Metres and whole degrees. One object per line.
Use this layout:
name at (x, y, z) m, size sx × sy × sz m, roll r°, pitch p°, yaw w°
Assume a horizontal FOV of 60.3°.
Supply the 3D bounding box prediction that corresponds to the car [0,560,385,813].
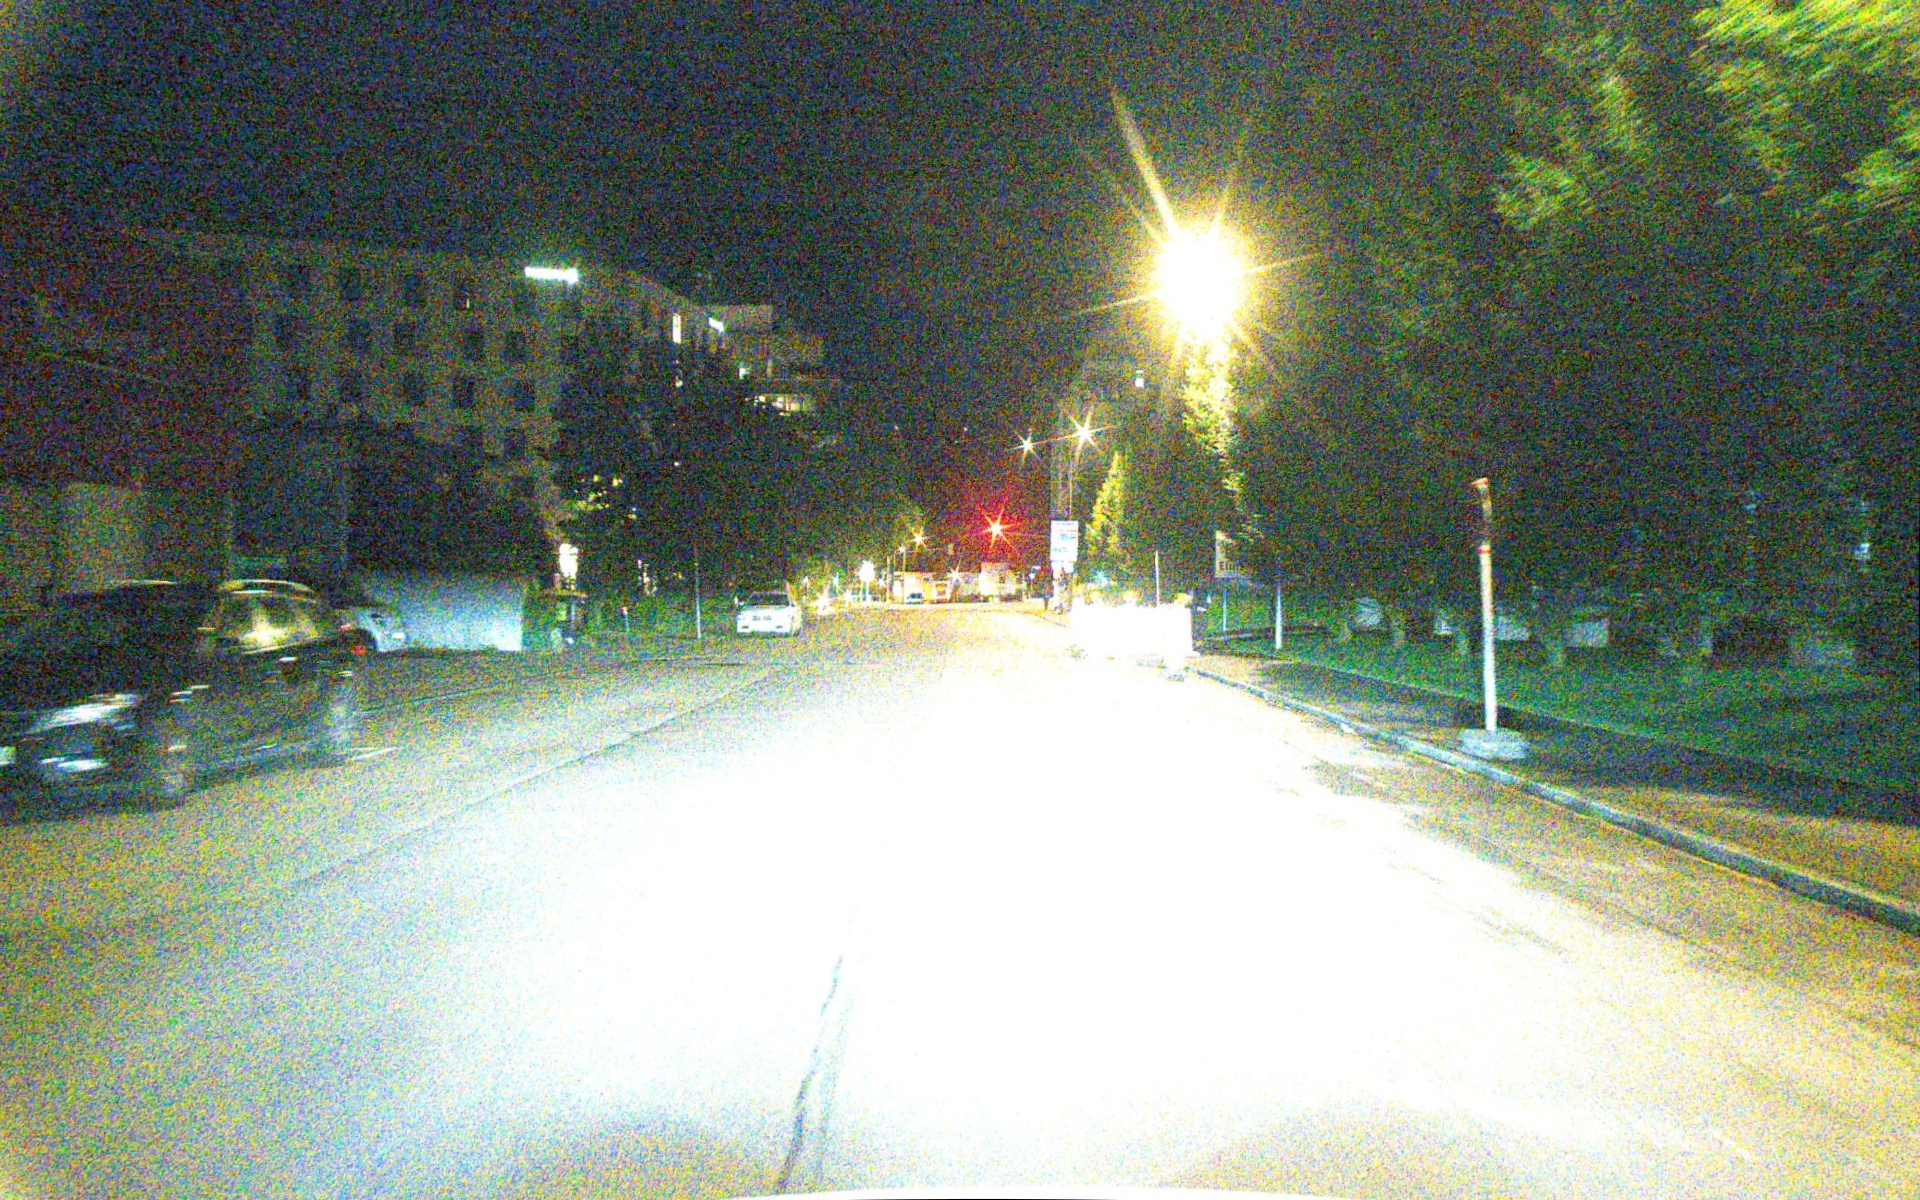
car at (-5.964, 0.523, 12.325) m, size 1.718 × 1.553 × 4.323 m, roll 0°, pitch 0°, yaw 2°

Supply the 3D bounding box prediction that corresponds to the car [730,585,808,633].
car at (-5.957, 0.257, 52.018) m, size 1.872 × 1.428 × 4.338 m, roll 0°, pitch 0°, yaw 1°

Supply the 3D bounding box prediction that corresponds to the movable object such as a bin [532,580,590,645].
movable object such as a bin at (-9.472, 0.288, 39.331) m, size 1.141 × 1.522 × 1.065 m, roll 0°, pitch 0°, yaw -3°

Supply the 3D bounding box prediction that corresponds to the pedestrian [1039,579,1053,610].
pedestrian at (5.654, -0.343, 108.512) m, size 0.725 × 2.016 × 0.623 m, roll 0°, pitch 0°, yaw -16°

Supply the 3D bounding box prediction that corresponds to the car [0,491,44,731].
car at (-10.556, 0.148, 14.517) m, size 1.952 × 2.362 × 4.969 m, roll -2°, pitch 0°, yaw 4°

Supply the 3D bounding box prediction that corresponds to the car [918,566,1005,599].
car at (0.200, -2.621, 246.833) m, size 12.172 × 4.792 × 4.793 m, roll 0°, pitch 0°, yaw -14°

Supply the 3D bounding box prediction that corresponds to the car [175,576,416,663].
car at (-12.779, 0.359, 31.977) m, size 3.905 × 1.598 × 1.817 m, roll -1°, pitch 0°, yaw 0°

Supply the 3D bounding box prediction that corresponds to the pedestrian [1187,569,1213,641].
pedestrian at (6.330, 0.129, 43.644) m, size 0.558 × 1.885 × 0.820 m, roll 0°, pitch 0°, yaw 1°

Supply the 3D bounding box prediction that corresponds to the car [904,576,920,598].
car at (-6.818, -1.819, 234.826) m, size 1.954 × 3.026 × 3.996 m, roll 0°, pitch 0°, yaw -5°
